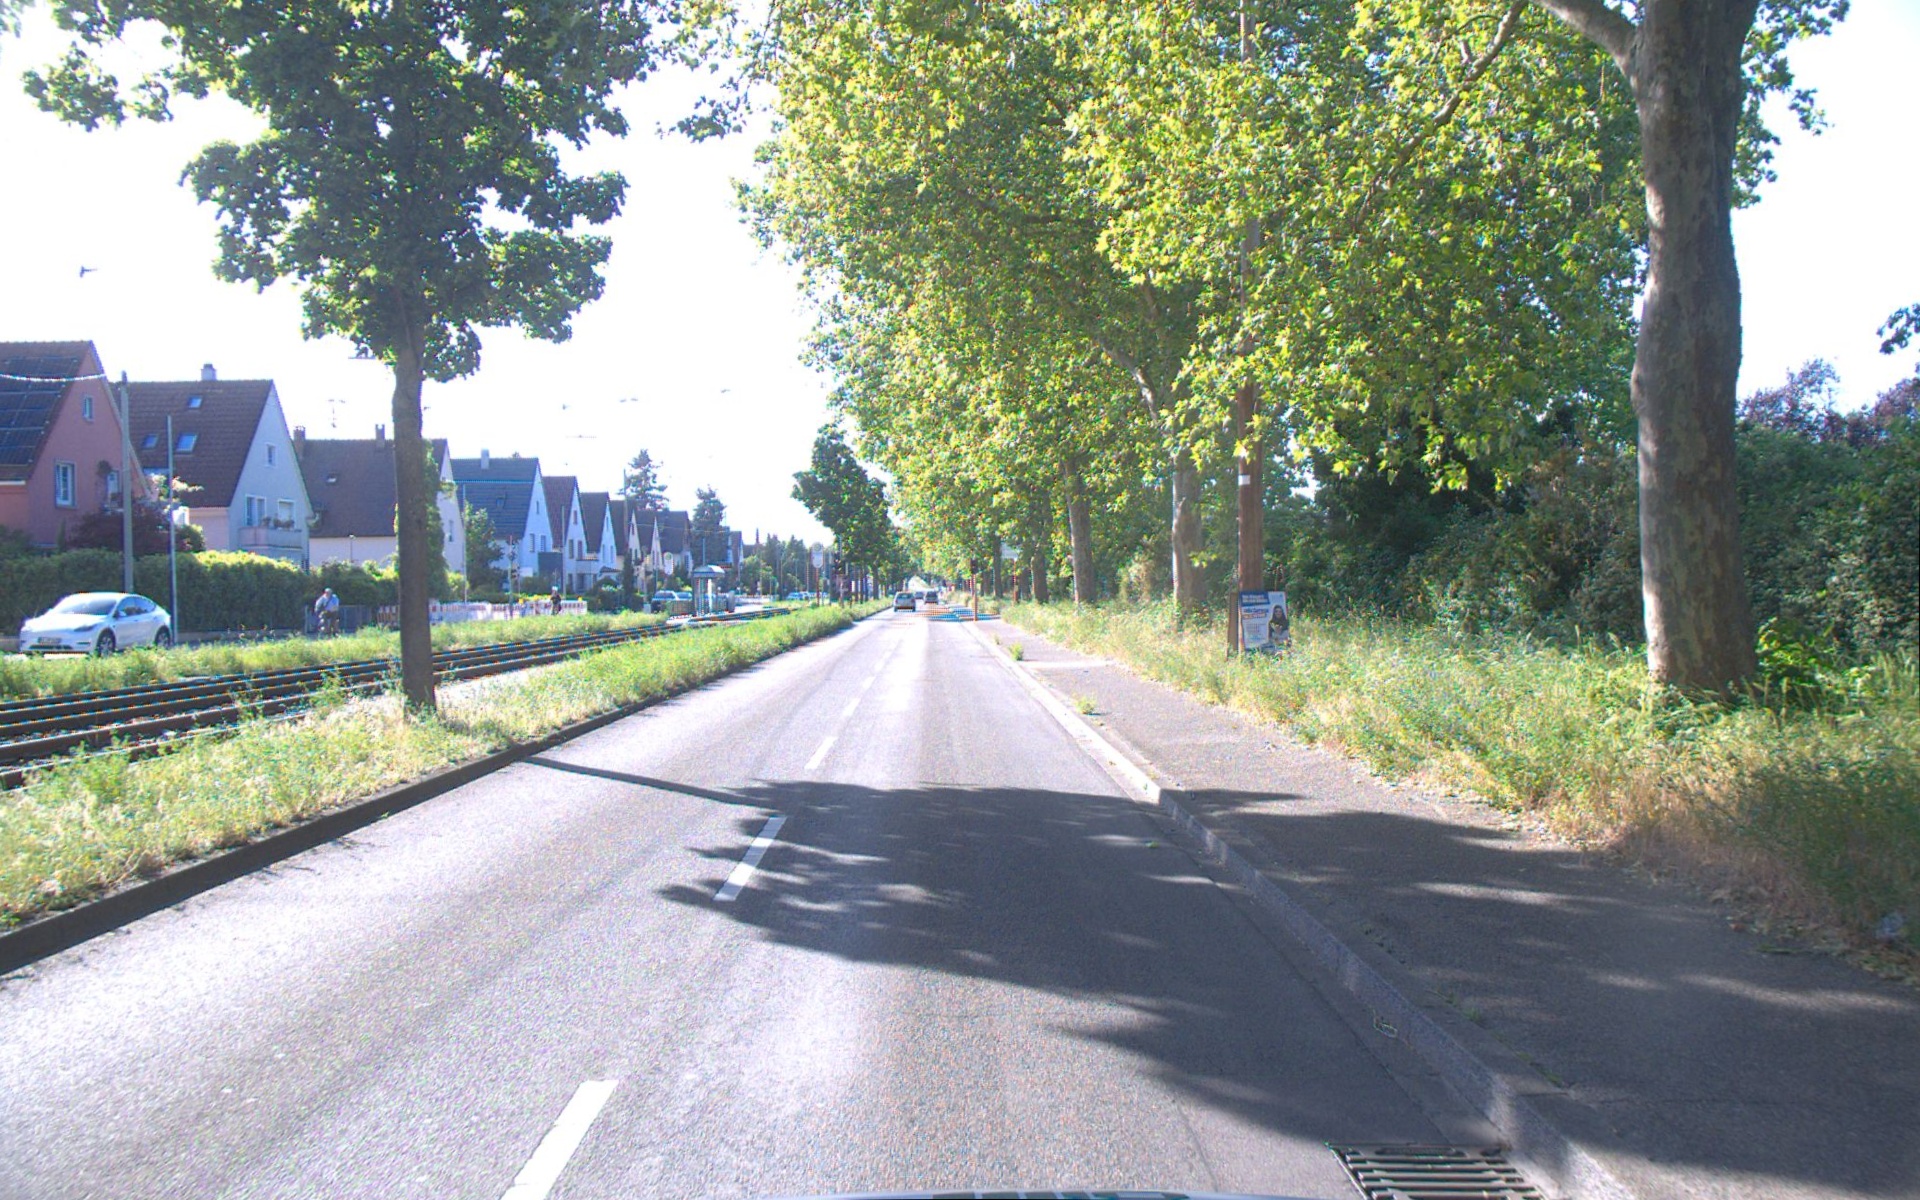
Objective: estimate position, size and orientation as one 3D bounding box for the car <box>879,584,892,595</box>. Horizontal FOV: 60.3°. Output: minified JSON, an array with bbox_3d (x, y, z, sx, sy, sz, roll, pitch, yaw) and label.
[{"bbox_3d":[-9.737,-1.383,216.019,1.496,1.480,3.286,0,0,0],"label":"car"}]

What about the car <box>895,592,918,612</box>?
[{"bbox_3d":[-3.956,0.133,123.099,1.703,1.425,3.276,0,0,-1],"label":"car"}]

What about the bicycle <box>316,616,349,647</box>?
[{"bbox_3d":[-19.539,0.974,51.528,0.432,0.917,2.059,1,0,-5],"label":"bicycle"}]

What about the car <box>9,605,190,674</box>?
[{"bbox_3d":[-21.803,0.961,42.154,1.952,1.627,4.733,0,0,2],"label":"car"}]

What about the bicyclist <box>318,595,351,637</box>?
[{"bbox_3d":[-19.568,0.496,51.722,0.783,1.300,0.736,1,0,-5],"label":"bicyclist"}]

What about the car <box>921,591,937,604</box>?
[{"bbox_3d":[-3.583,-0.284,192.141,1.725,1.539,3.276,0,0,0],"label":"car"}]
